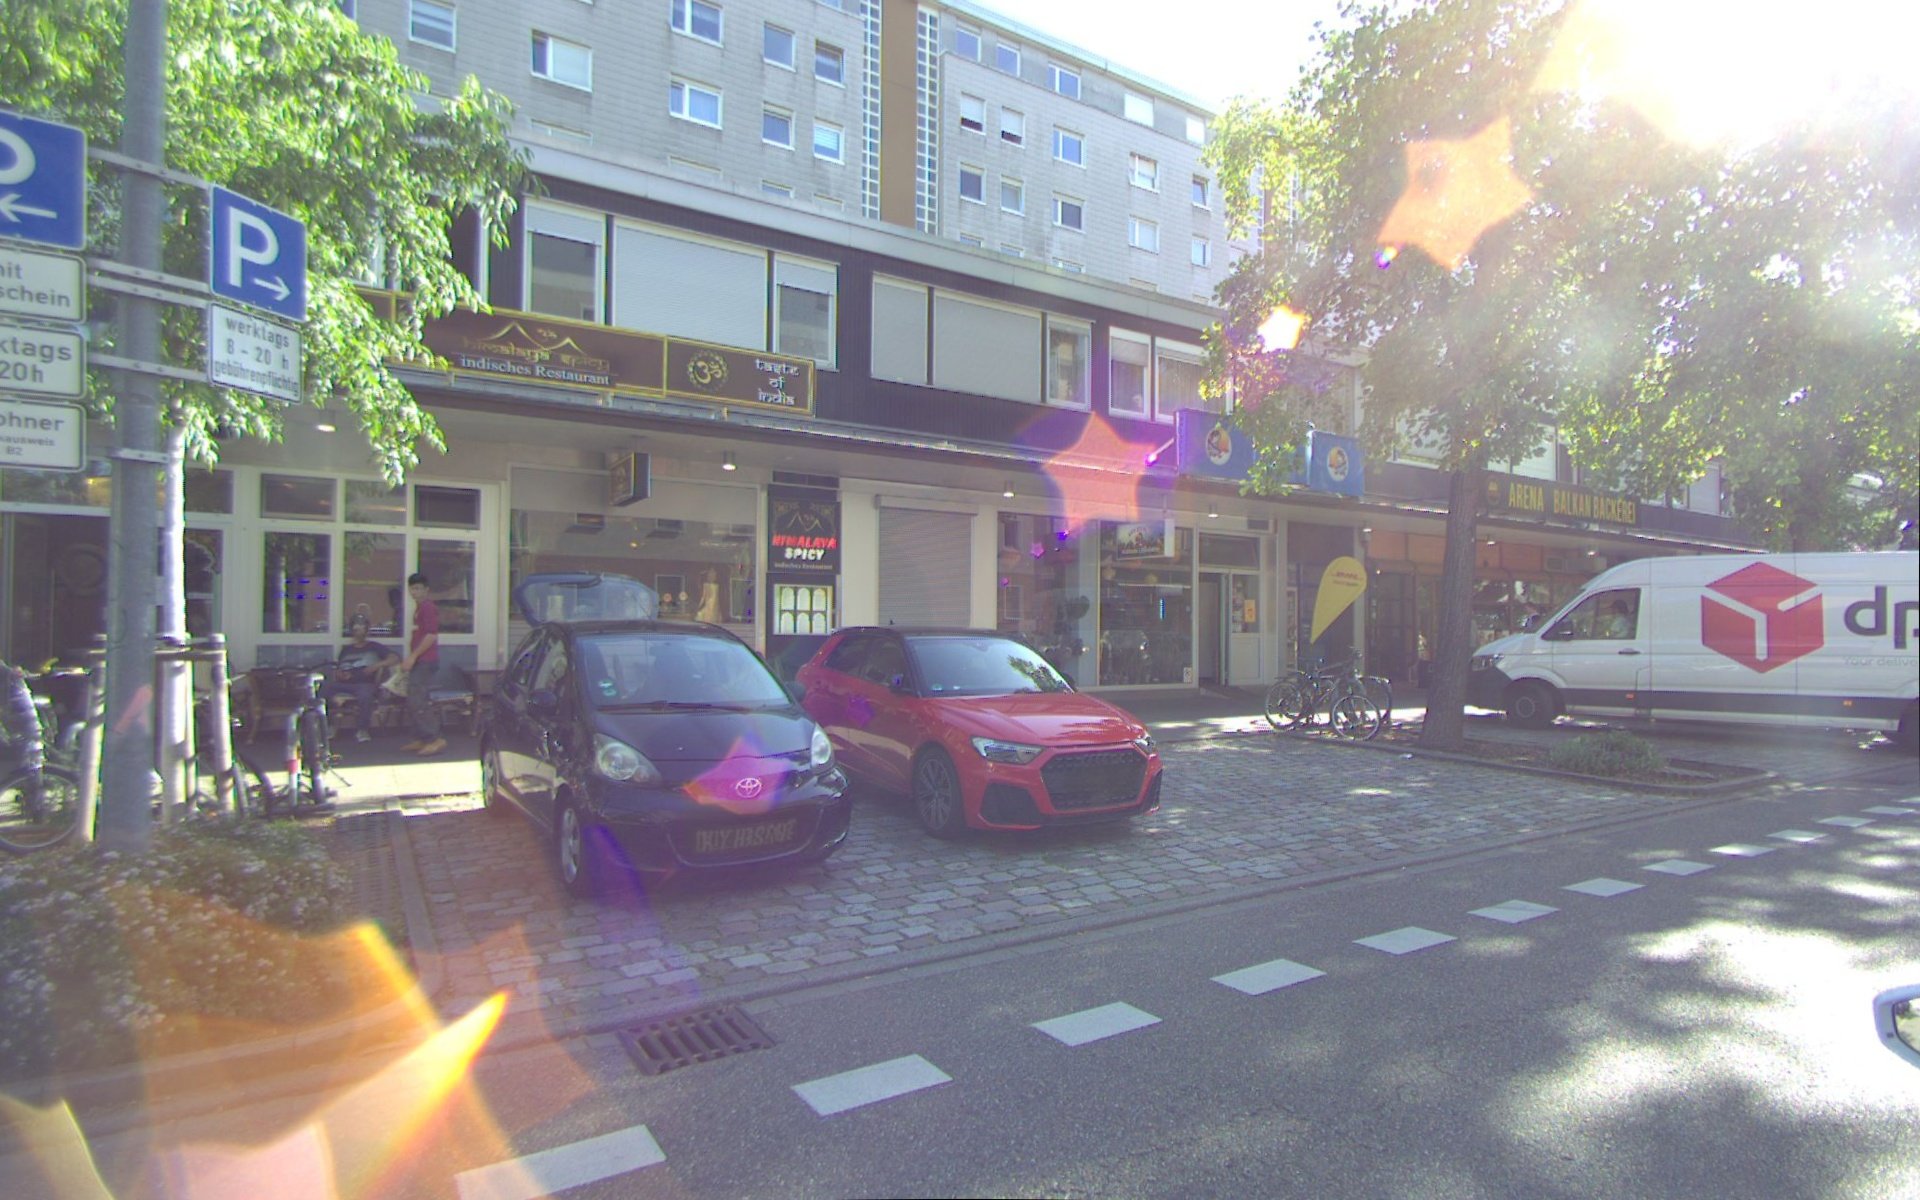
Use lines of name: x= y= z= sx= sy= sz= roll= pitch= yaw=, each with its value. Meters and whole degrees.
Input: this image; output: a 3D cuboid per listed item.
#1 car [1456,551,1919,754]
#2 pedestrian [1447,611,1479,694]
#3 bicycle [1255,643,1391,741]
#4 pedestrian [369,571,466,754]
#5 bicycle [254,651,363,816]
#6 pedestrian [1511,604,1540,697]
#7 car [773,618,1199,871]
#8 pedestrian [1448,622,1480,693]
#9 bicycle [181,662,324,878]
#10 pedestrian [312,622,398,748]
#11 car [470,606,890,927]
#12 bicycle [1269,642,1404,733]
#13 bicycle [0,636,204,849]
car: x=10.766 y=0.686 z=14.296 sx=6.490 sy=2.506 sz=1.995 roll=-1 pitch=-2 yaw=33
pedestrian: x=11.095 y=1.159 z=22.142 sx=0.423 sy=1.805 sz=0.481 roll=2 pitch=-2 yaw=-35
bicycle: x=4.781 y=1.177 z=13.341 sx=0.615 sy=1.132 sz=1.712 roll=1 pitch=0 yaw=-28
pedestrian: x=-5.303 y=0.600 z=9.847 sx=0.622 sy=1.735 sz=0.581 roll=1 pitch=-1 yaw=-4
bicycle: x=-4.925 y=0.941 z=7.655 sx=0.608 sy=1.053 sz=1.852 roll=1 pitch=-2 yaw=-32
pedestrian: x=12.024 y=1.075 z=21.359 sx=0.357 sy=1.959 sz=0.388 roll=1 pitch=-2 yaw=-31
car: x=-0.051 y=0.930 z=8.246 sx=1.690 sy=1.470 sz=3.898 roll=1 pitch=0 yaw=-30
pedestrian: x=10.757 y=1.211 z=21.451 sx=0.416 sy=1.492 sz=0.465 roll=1 pitch=-2 yaw=-35
bicycle: x=-4.341 y=0.941 z=6.145 sx=0.609 sy=1.053 sz=1.849 roll=1 pitch=-2 yaw=-37
pedestrian: x=-6.337 y=0.868 z=10.536 sx=0.738 sy=1.262 sz=0.646 roll=1 pitch=-2 yaw=-32
car: x=-2.091 y=0.815 z=6.721 sx=1.597 sy=1.470 sz=3.642 roll=1 pitch=0 yaw=-35
bicycle: x=5.326 y=1.207 z=14.332 sx=0.579 sy=1.121 sz=1.860 roll=1 pitch=0 yaw=-28
bicycle: x=-5.821 y=0.843 z=6.717 sx=0.791 sy=1.183 sz=2.229 roll=1 pitch=-2 yaw=-26
